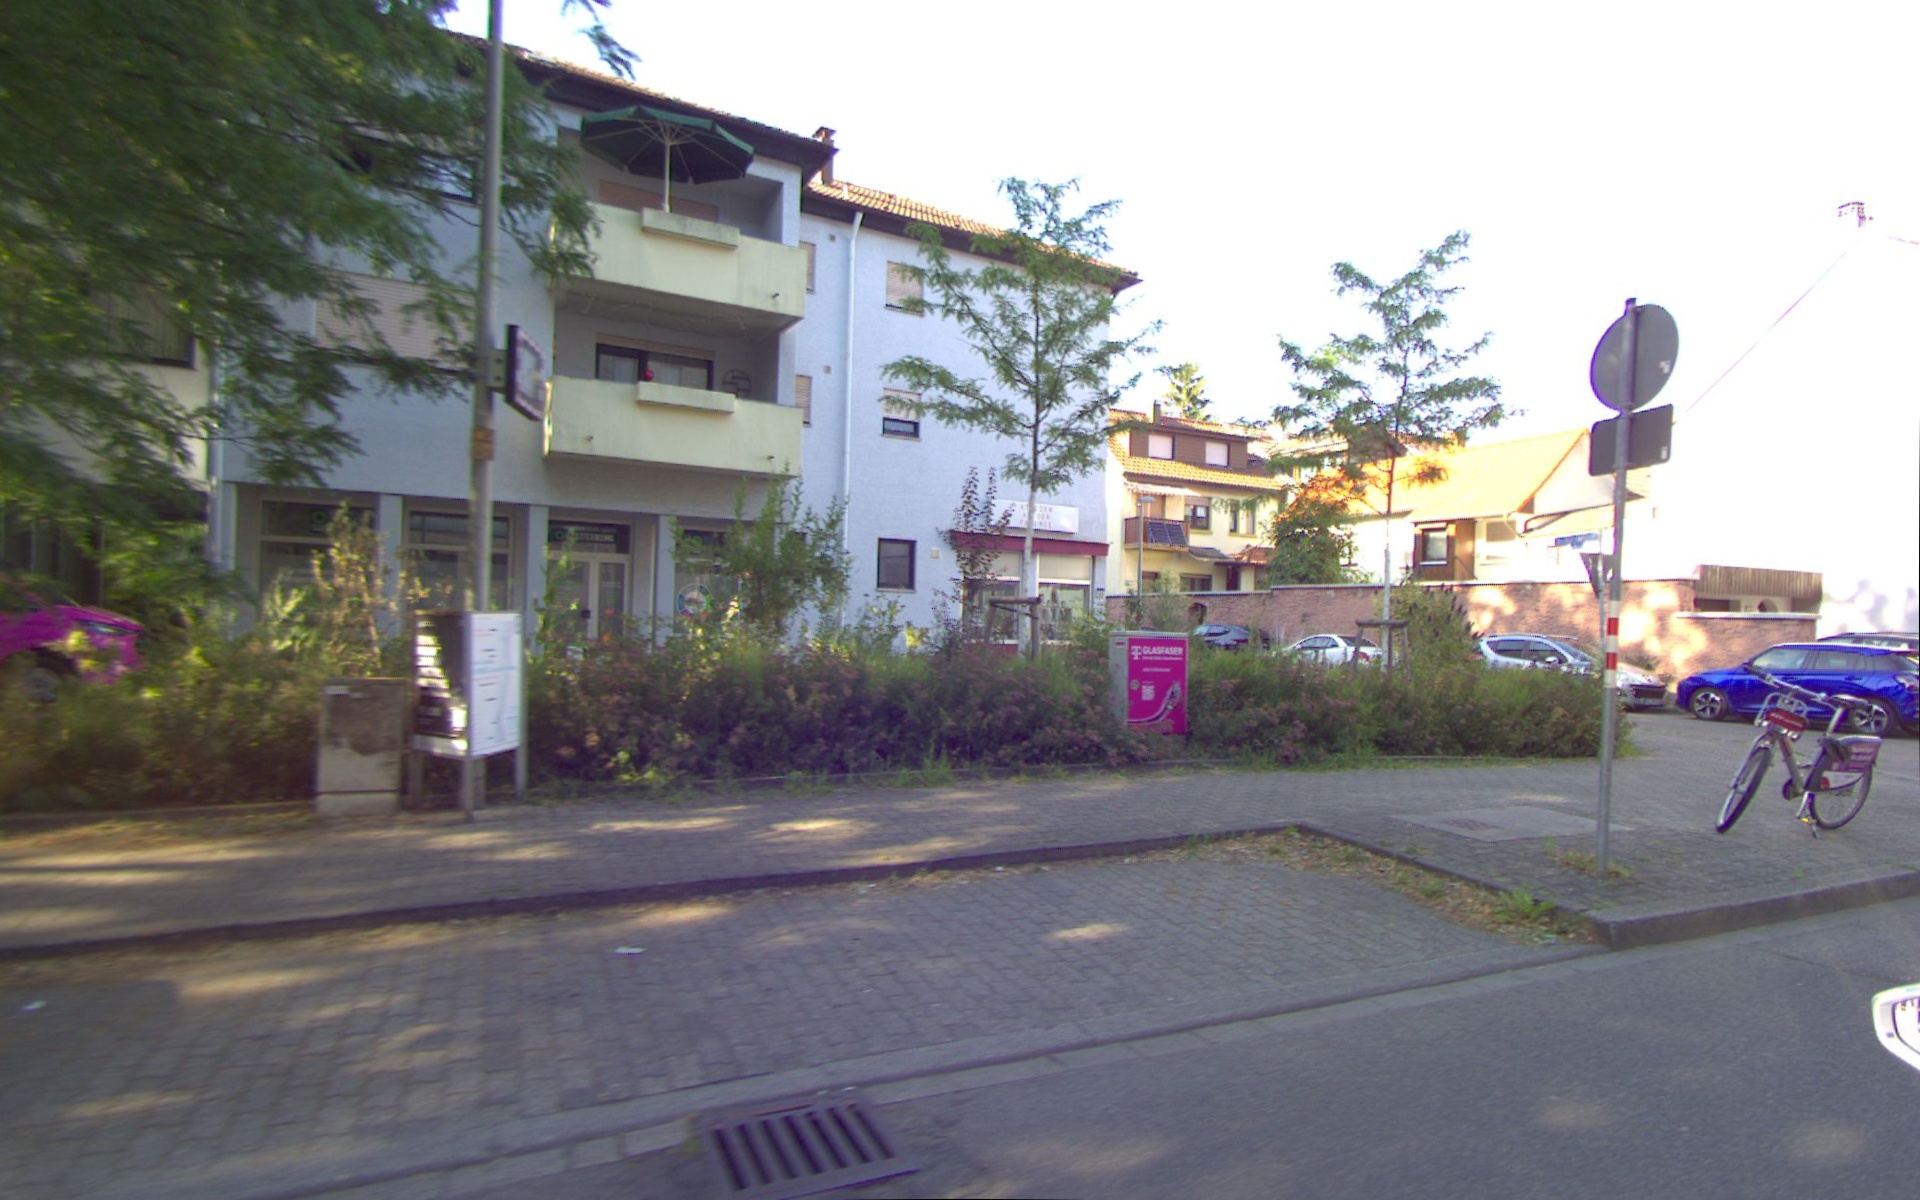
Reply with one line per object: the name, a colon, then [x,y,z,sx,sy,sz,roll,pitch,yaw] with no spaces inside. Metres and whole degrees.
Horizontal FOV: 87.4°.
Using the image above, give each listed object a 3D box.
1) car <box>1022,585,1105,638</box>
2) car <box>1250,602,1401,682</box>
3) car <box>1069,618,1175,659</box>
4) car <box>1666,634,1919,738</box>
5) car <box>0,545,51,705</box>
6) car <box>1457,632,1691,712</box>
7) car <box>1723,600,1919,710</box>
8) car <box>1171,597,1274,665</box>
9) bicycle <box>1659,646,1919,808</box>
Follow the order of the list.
car: [4.226,0.483,41.521,1.545,2.040,3.741,2,-1,-29]
car: [10.019,1.117,27.773,1.899,2.040,3.650,2,-1,-25]
car: [6.051,1.431,38.032,1.975,1.428,3.971,2,-1,-28]
car: [15.011,1.415,17.697,1.971,1.550,3.760,1,-2,-23]
car: [-13.982,0.236,12.060,4.283,1.974,2.003,2,-1,-37]
car: [13.206,1.484,21.882,1.971,1.520,3.979,1,-2,-23]
car: [18.092,1.041,19.869,1.959,1.819,4.354,-1,4,-22]
car: [8.184,0.946,31.540,1.369,1.910,3.082,3,0,-26]
bicycle: [6.042,0.881,7.213,1.912,1.016,0.702,2,0,-21]
